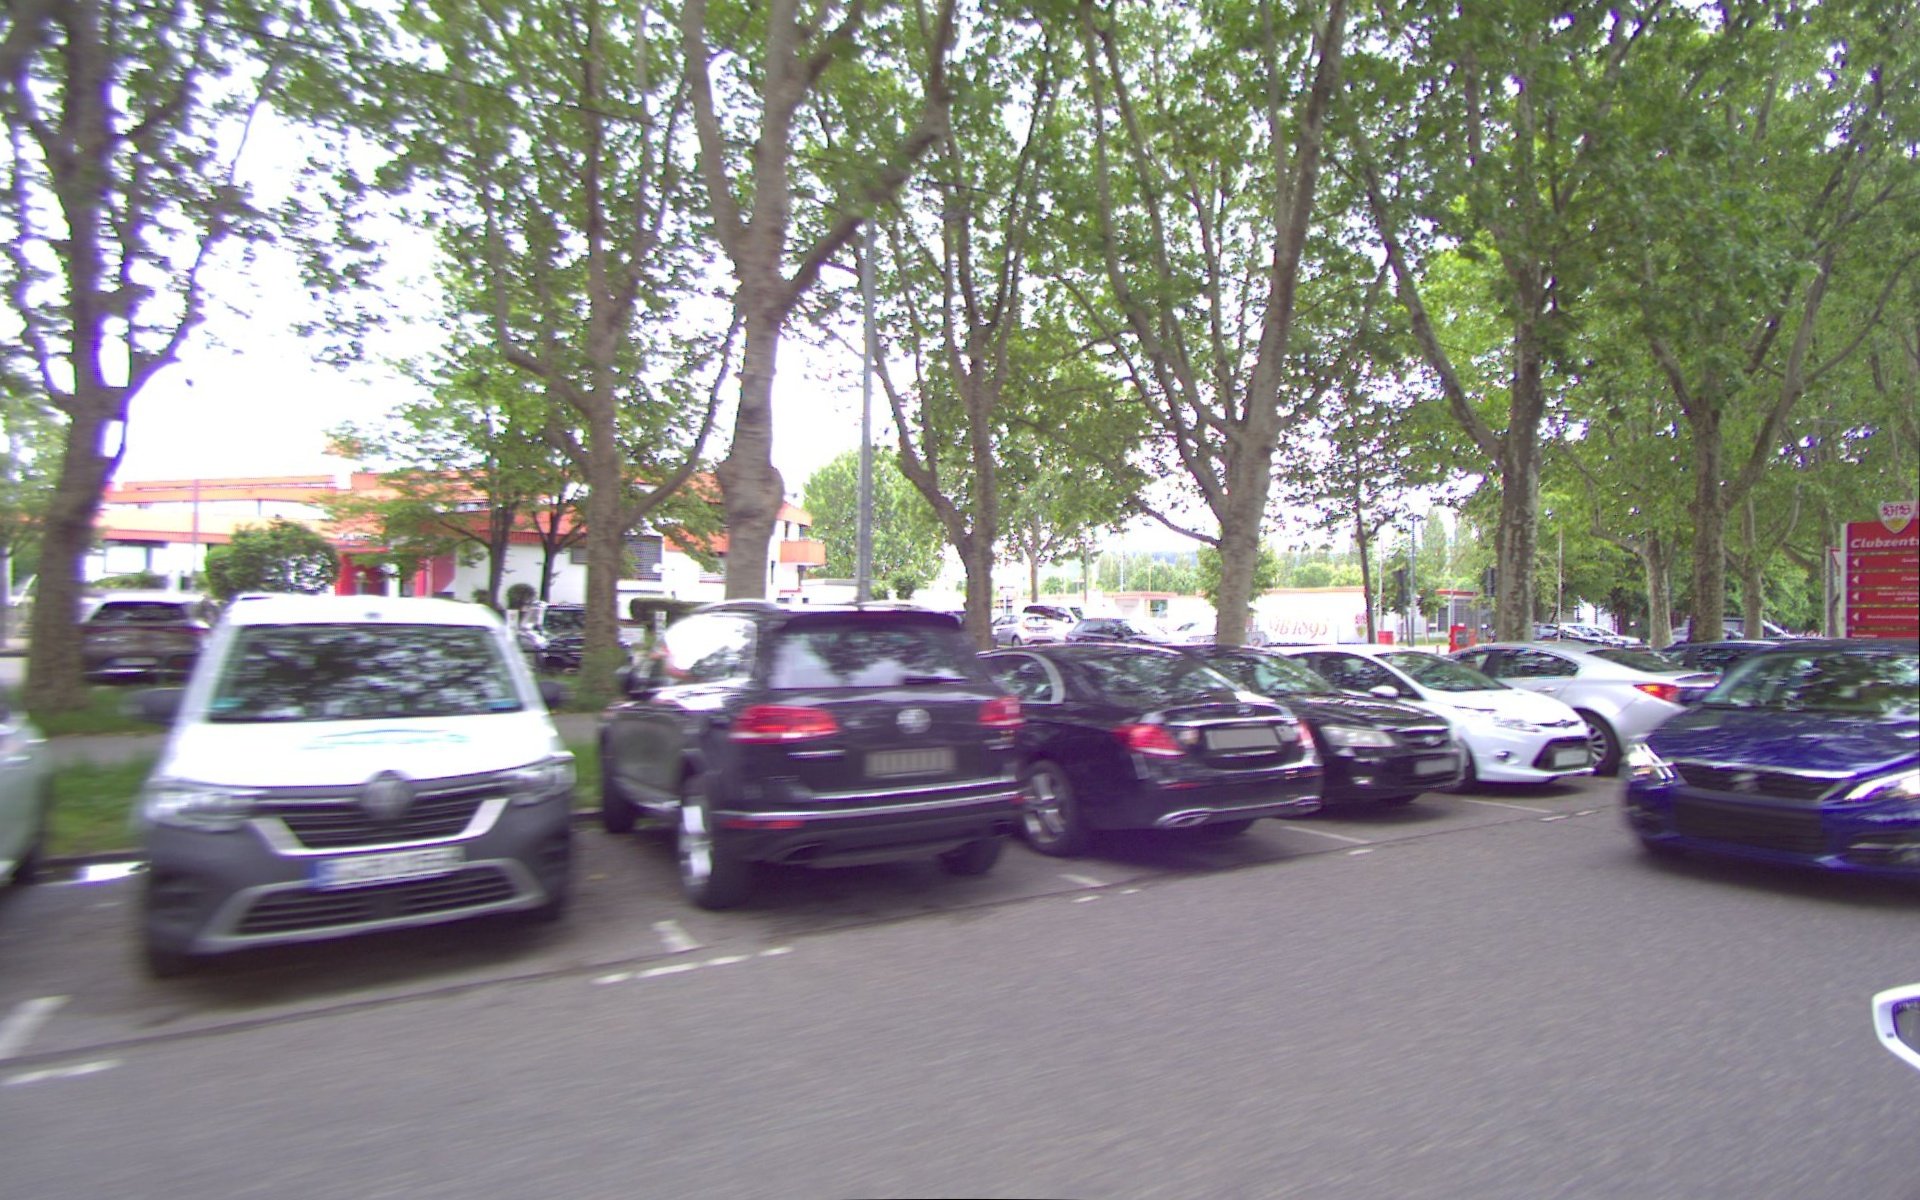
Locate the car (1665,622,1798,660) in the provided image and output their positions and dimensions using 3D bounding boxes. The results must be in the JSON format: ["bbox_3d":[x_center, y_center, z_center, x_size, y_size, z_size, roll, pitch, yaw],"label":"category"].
[{"bbox_3d":[36.795,1.916,48.050,2.082,1.588,4.608,3,-1,-27],"label":"car"}]

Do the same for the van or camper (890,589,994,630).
[{"bbox_3d":[-0.949,0.547,53.503,5.243,2.040,1.983,2,-1,-31],"label":"van or camper"}]

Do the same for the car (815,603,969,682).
[{"bbox_3d":[-1.797,0.988,24.994,2.107,1.732,4.299,2,-1,-31],"label":"car"}]

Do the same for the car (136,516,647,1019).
[{"bbox_3d":[-3.400,0.707,5.992,1.848,1.834,4.293,1,-3,-33],"label":"car"}]

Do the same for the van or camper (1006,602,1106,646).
[{"bbox_3d":[3.983,0.973,42.421,2.107,1.732,4.299,2,-1,-31],"label":"van or camper"}]

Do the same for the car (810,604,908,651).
[{"bbox_3d":[-3.776,0.978,36.917,1.936,1.569,4.299,2,-1,-30],"label":"car"}]

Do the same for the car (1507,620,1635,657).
[{"bbox_3d":[24.647,1.531,40.653,1.978,1.341,3.967,2,-1,-30],"label":"car"}]

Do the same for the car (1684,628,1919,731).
[{"bbox_3d":[15.523,1.344,17.821,1.782,1.561,3.977,2,-1,-28],"label":"car"}]

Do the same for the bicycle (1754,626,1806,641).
[{"bbox_3d":[65.697,2.664,80.487,3.149,1.112,0.768,1,-1,45],"label":"bicycle"}]

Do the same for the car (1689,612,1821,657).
[{"bbox_3d":[39.238,1.671,49.689,2.234,2.052,4.599,2,-1,-27],"label":"car"}]

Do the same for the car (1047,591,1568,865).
[{"bbox_3d":[2.770,0.955,9.069,1.845,1.834,4.299,1,-3,-29],"label":"car"}]

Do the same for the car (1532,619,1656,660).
[{"bbox_3d":[26.755,1.644,42.503,1.978,1.543,3.969,2,-1,-29],"label":"car"}]

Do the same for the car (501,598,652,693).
[{"bbox_3d":[-8.261,0.880,21.355,2.270,1.785,4.496,2,-1,-31],"label":"car"}]

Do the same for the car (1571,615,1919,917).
[{"bbox_3d":[6.155,0.931,6.818,3.970,1.529,1.833,2,-4,-32],"label":"car"}]

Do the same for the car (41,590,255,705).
[{"bbox_3d":[-14.201,0.750,17.903,2.270,1.748,4.529,2,-1,-31],"label":"car"}]

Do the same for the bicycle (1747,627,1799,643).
[{"bbox_3d":[63.908,2.775,78.991,0.768,1.112,3.149,2,0,-44],"label":"bicycle"}]

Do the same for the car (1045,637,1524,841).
[{"bbox_3d":[2.851,1.121,9.747,1.945,1.372,4.166,2,-1,-32],"label":"car"}]

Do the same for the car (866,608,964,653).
[{"bbox_3d":[-1.770,1.110,38.030,1.936,1.569,4.299,2,-1,-30],"label":"car"}]

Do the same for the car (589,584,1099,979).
[{"bbox_3d":[-1.155,0.854,7.010,2.012,1.819,4.297,2,-1,-29],"label":"car"}]

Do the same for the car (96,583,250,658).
[{"bbox_3d":[-21.421,0.536,27.585,2.265,1.880,4.565,2,-1,-25],"label":"car"}]

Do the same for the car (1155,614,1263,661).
[{"bbox_3d":[9.165,1.339,36.674,2.067,1.572,4.959,1,-1,37],"label":"car"}]

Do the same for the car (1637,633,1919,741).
[{"bbox_3d":[13.636,1.315,16.312,1.886,1.403,3.980,2,-1,-26],"label":"car"}]

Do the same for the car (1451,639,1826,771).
[{"bbox_3d":[9.294,1.330,14.096,1.840,1.424,3.968,2,-1,-30],"label":"car"}]

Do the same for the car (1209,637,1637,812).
[{"bbox_3d":[4.875,1.192,11.143,1.864,1.423,3.967,2,-1,-31],"label":"car"}]

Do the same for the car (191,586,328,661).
[{"bbox_3d":[-19.165,0.624,27.732,2.265,1.880,4.565,2,-1,-25],"label":"car"}]

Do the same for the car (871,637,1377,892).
[{"bbox_3d":[0.986,1.095,8.176,1.988,1.471,4.114,1,-4,-28],"label":"car"}]

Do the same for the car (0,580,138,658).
[{"bbox_3d":[-23.867,0.466,26.486,2.265,1.880,4.565,2,-1,-25],"label":"car"}]

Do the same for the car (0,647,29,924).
[{"bbox_3d":[-5.805,0.980,4.822,1.751,1.491,3.751,1,-3,-40],"label":"car"}]

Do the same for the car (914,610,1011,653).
[{"bbox_3d":[0.047,1.210,39.899,1.936,1.569,4.299,2,-1,-30],"label":"car"}]

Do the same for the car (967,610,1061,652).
[{"bbox_3d":[2.130,1.217,40.850,1.770,1.569,4.196,2,-1,-31],"label":"car"}]

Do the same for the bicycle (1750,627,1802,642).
[{"bbox_3d":[64.909,2.725,79.918,0.768,1.112,3.149,2,0,-44],"label":"bicycle"}]

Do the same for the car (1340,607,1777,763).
[{"bbox_3d":[7.122,0.996,12.441,1.887,1.568,4.242,2,-4,-31],"label":"car"}]

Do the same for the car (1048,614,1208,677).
[{"bbox_3d":[4.623,1.225,28.249,2.178,1.569,4.299,2,-1,-31],"label":"car"}]

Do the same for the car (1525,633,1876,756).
[{"bbox_3d":[11.215,1.336,15.512,1.811,1.513,3.975,2,-1,-30],"label":"car"}]
